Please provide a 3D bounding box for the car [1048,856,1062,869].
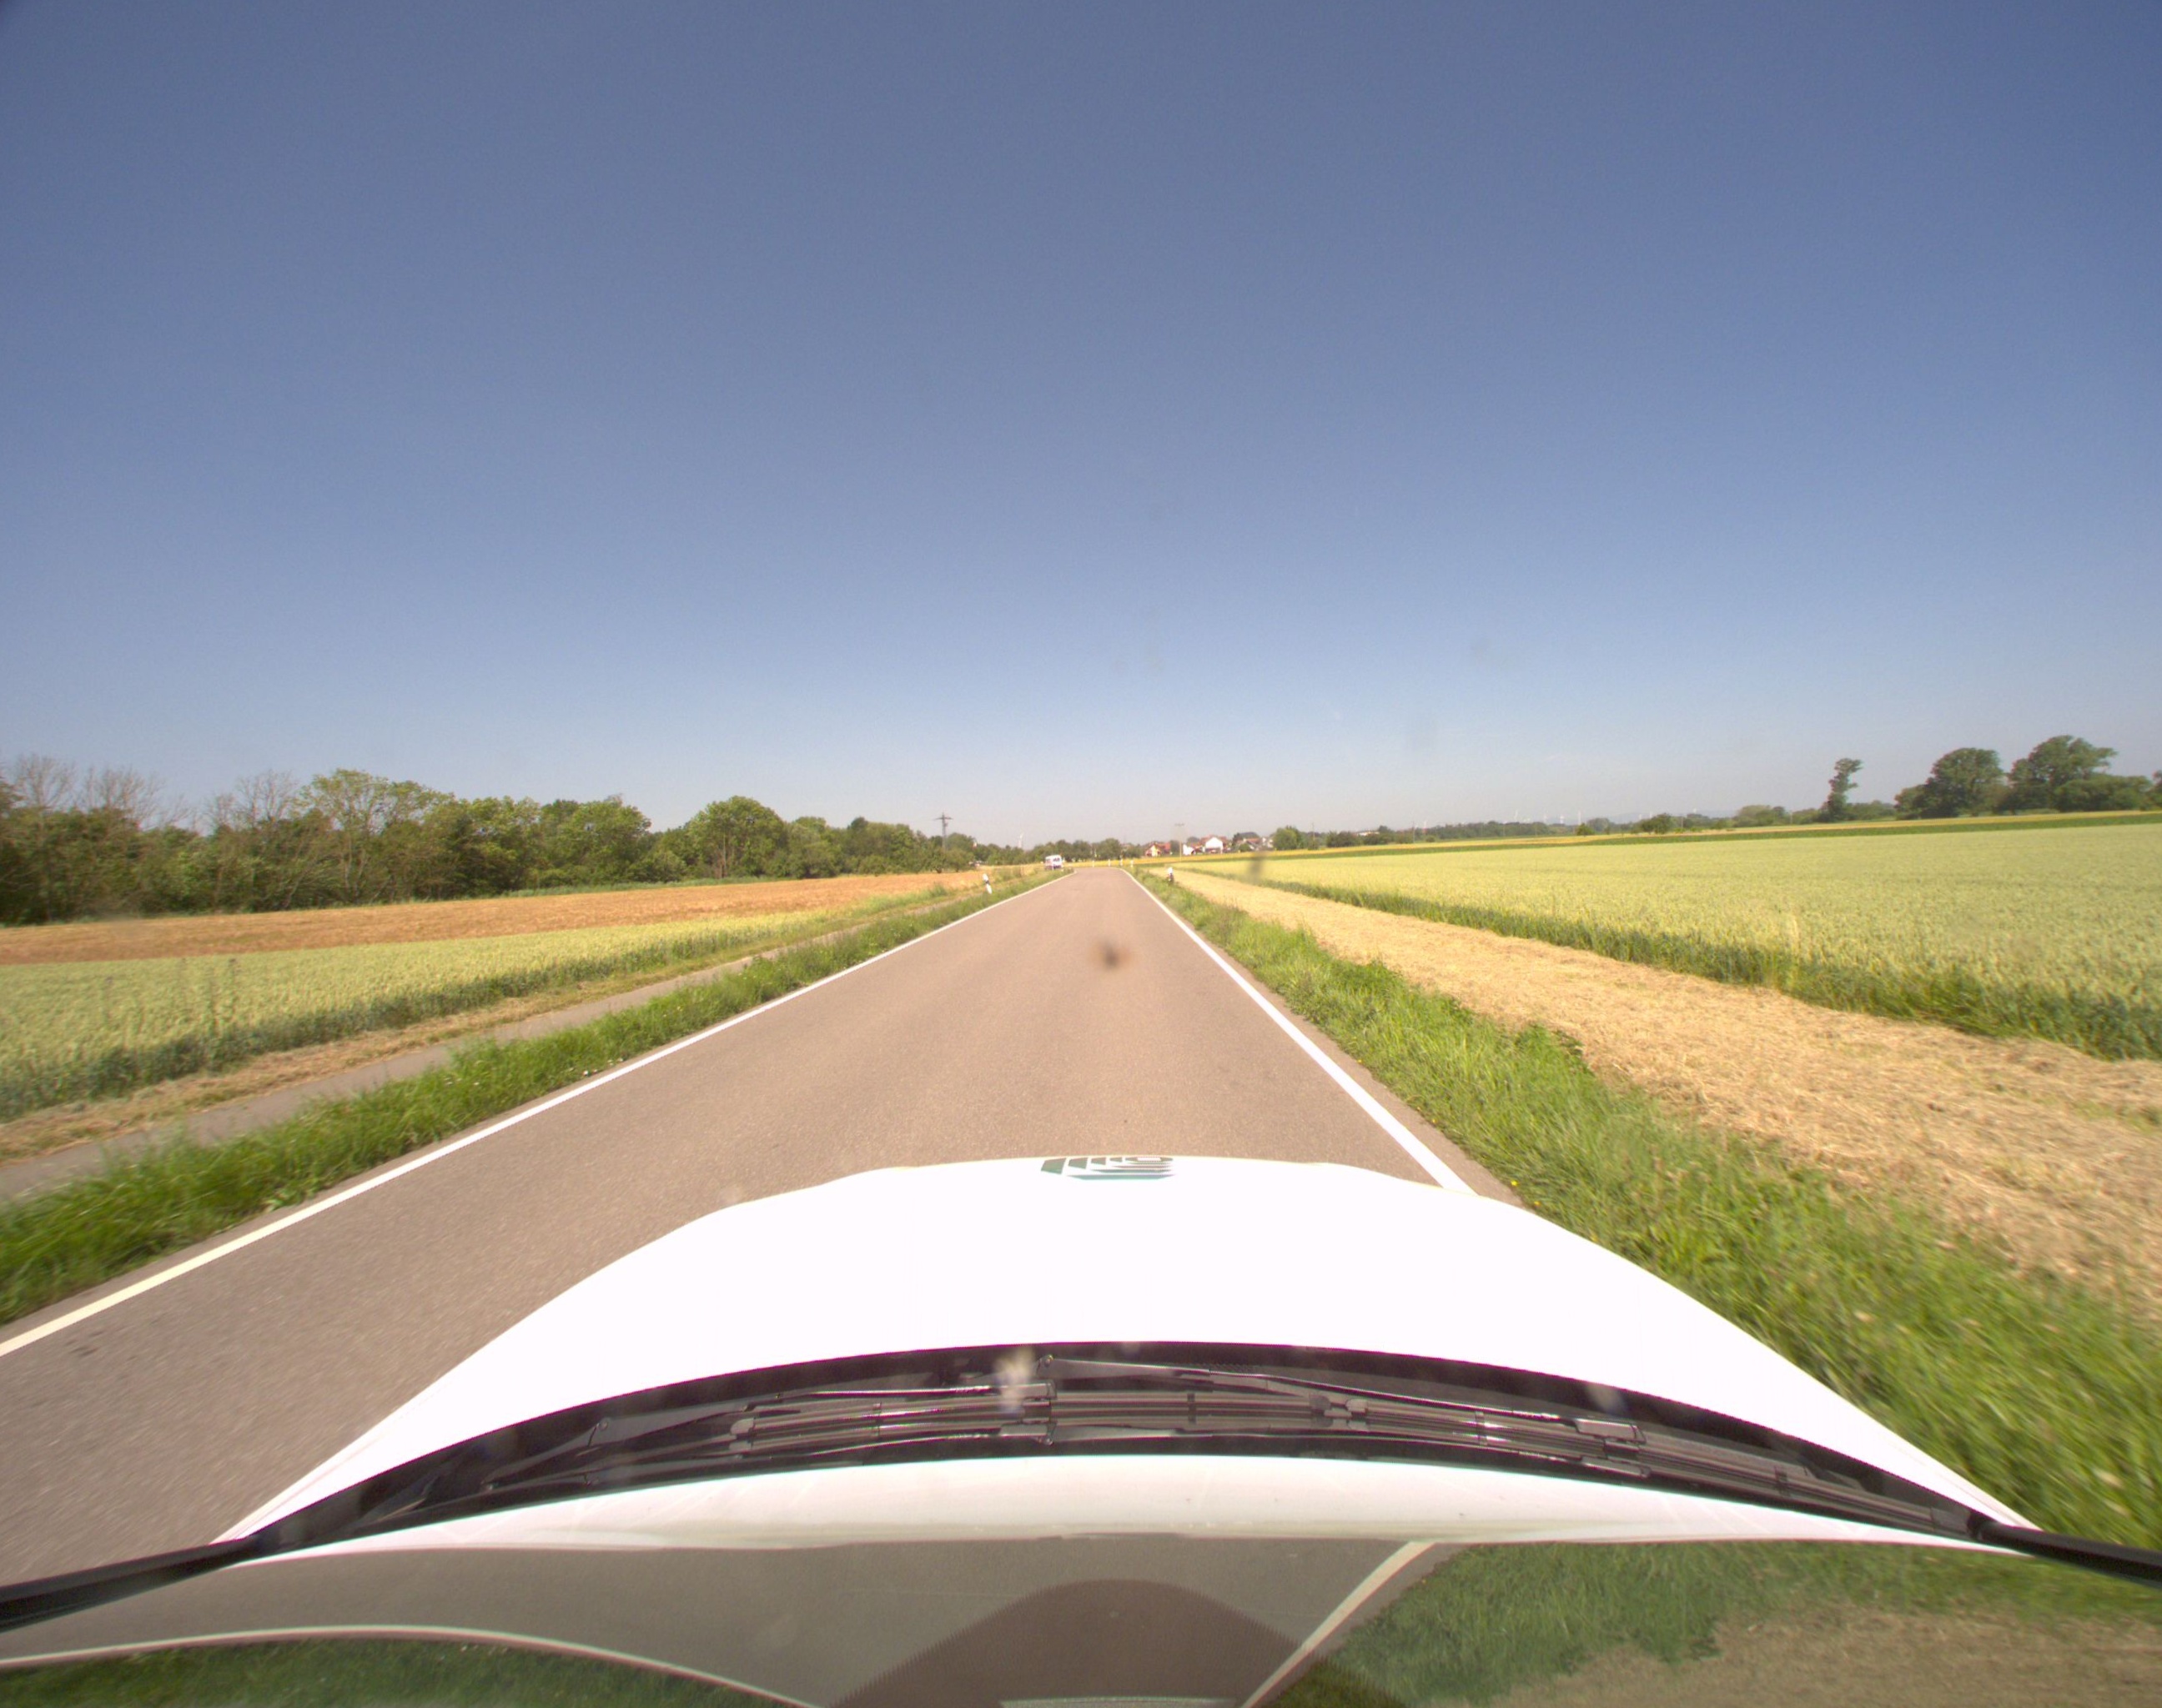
[{"bbox_3d":[-4.743,1.519,148.236,2.106,2.304,5.480,-1,0,-8],"label":"car"}]
